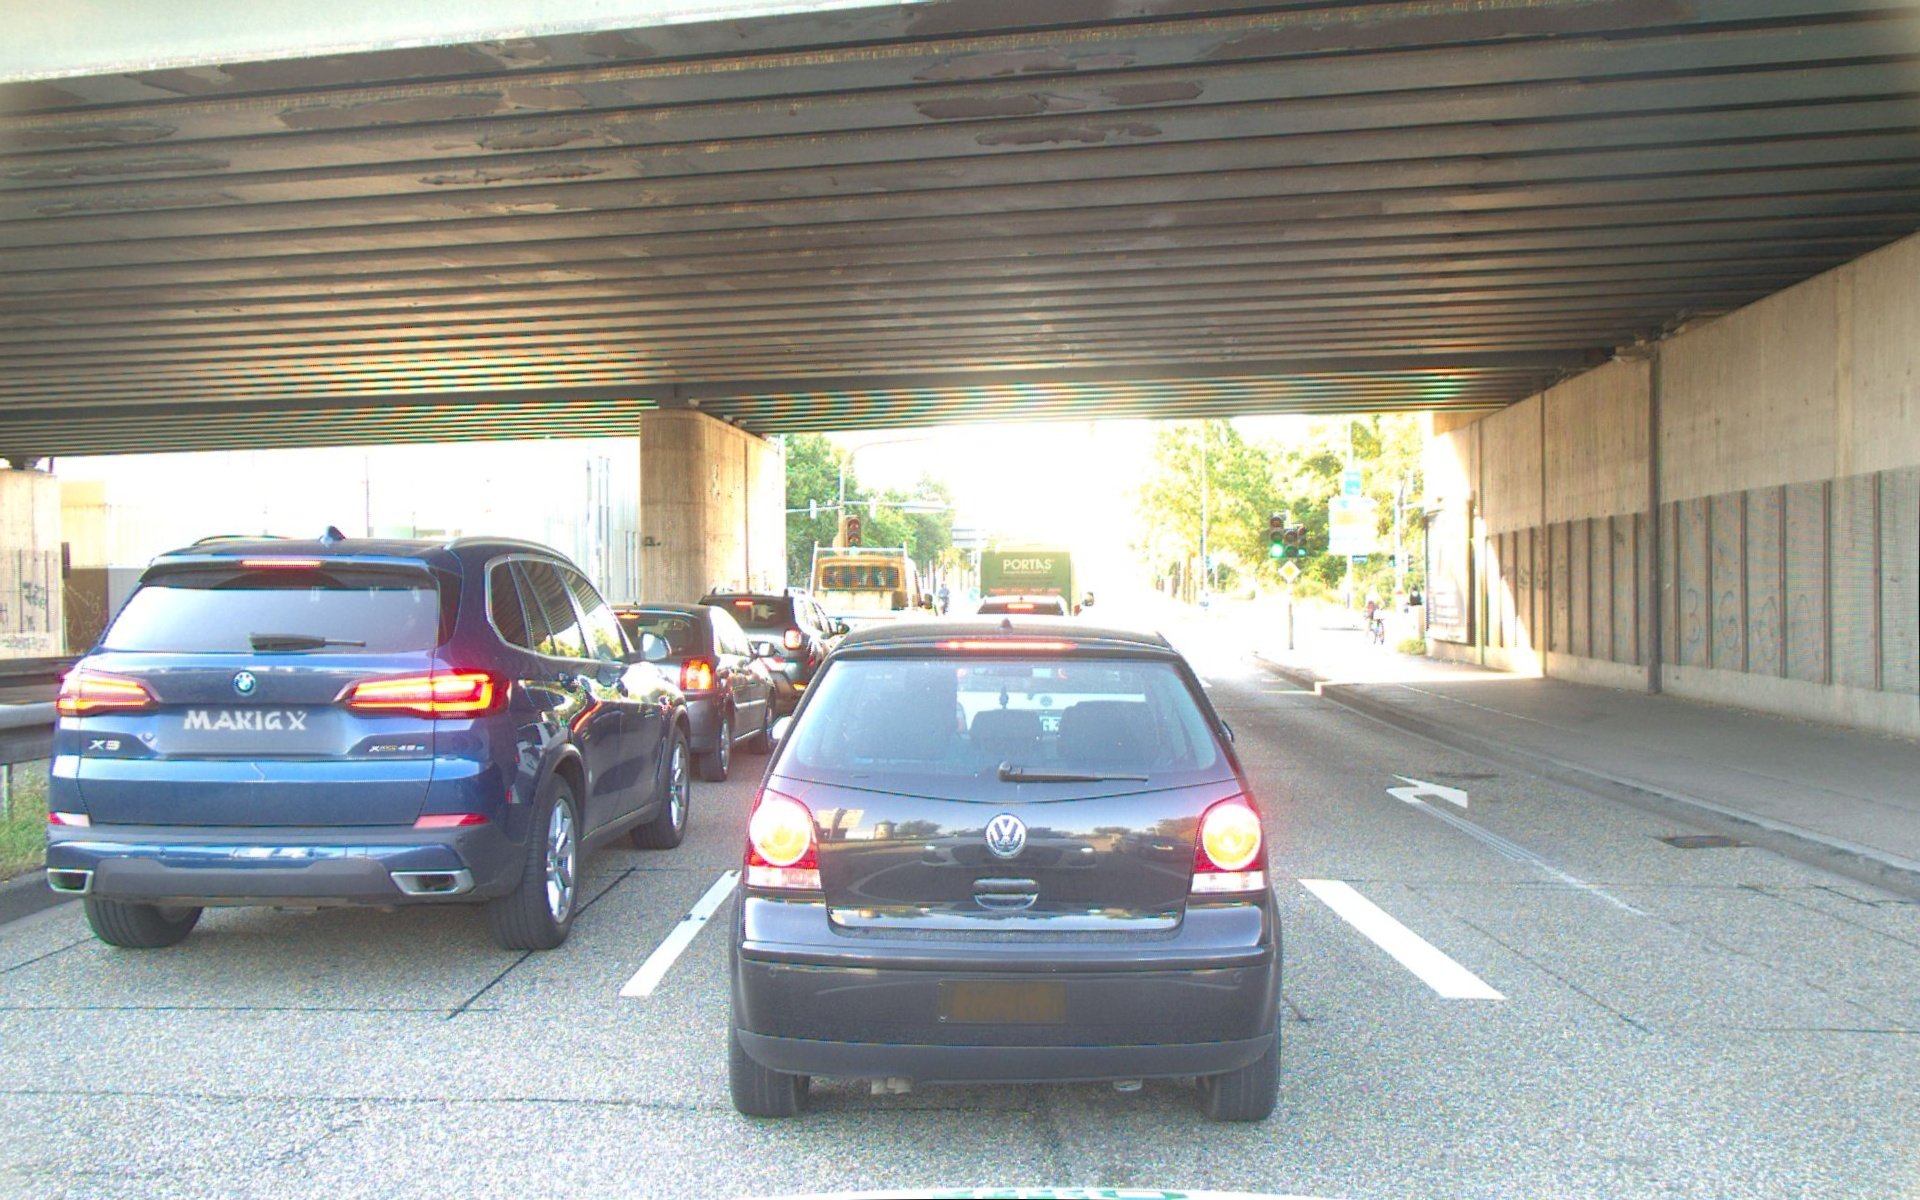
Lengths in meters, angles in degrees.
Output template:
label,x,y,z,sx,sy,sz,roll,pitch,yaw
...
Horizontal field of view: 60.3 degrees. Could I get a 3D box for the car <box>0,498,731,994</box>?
label,x,y,z,sx,sy,sz,roll,pitch,yaw
car,-2.552,0.533,8.276,1.952,1.764,4.534,1,0,3

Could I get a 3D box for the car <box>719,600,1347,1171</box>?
label,x,y,z,sx,sy,sz,roll,pitch,yaw
car,0.114,0.738,6.049,1.584,1.434,3.681,1,0,-3

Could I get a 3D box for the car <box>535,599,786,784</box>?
label,x,y,z,sx,sy,sz,roll,pitch,yaw
car,-2.553,0.728,14.873,1.583,1.434,3.682,1,0,0

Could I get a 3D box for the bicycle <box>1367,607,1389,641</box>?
label,x,y,z,sx,sy,sz,roll,pitch,yaw
bicycle,12.010,0.687,47.535,0.428,0.930,1.027,-2,-1,6

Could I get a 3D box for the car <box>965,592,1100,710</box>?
label,x,y,z,sx,sy,sz,roll,pitch,yaw
car,1.152,0.705,24.596,1.758,1.586,4.003,1,0,6

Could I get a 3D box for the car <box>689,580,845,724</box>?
label,x,y,z,sx,sy,sz,roll,pitch,yaw
car,-2.452,0.632,21.768,1.583,1.709,3.683,1,0,0

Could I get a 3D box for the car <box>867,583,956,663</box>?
label,x,y,z,sx,sy,sz,roll,pitch,yaw
car,-1.057,0.513,37.746,1.582,1.709,3.685,1,0,5

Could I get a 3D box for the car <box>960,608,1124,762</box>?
label,x,y,z,sx,sy,sz,roll,pitch,yaw
car,0.802,0.819,17.829,1.546,1.438,4.062,1,0,1

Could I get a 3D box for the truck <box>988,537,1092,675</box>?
label,x,y,z,sx,sy,sz,roll,pitch,yaw
truck,1.762,0.130,35.088,1.954,2.715,4.003,1,0,6

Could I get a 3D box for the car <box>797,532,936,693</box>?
label,x,y,z,sx,sy,sz,roll,pitch,yaw
car,-1.577,0.213,29.795,2.092,2.621,5.087,1,0,1

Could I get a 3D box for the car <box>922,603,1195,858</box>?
label,x,y,z,sx,sy,sz,roll,pitch,yaw
car,0.587,0.759,11.540,1.546,1.438,4.062,1,0,1

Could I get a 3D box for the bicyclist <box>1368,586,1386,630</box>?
label,x,y,z,sx,sy,sz,roll,pitch,yaw
bicyclist,11.991,0.234,47.533,0.418,1.254,0.460,-1,-1,6

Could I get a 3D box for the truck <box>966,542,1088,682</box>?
label,x,y,z,sx,sy,sz,roll,pitch,yaw
truck,1.299,0.209,30.320,1.954,2.356,4.003,1,0,6
